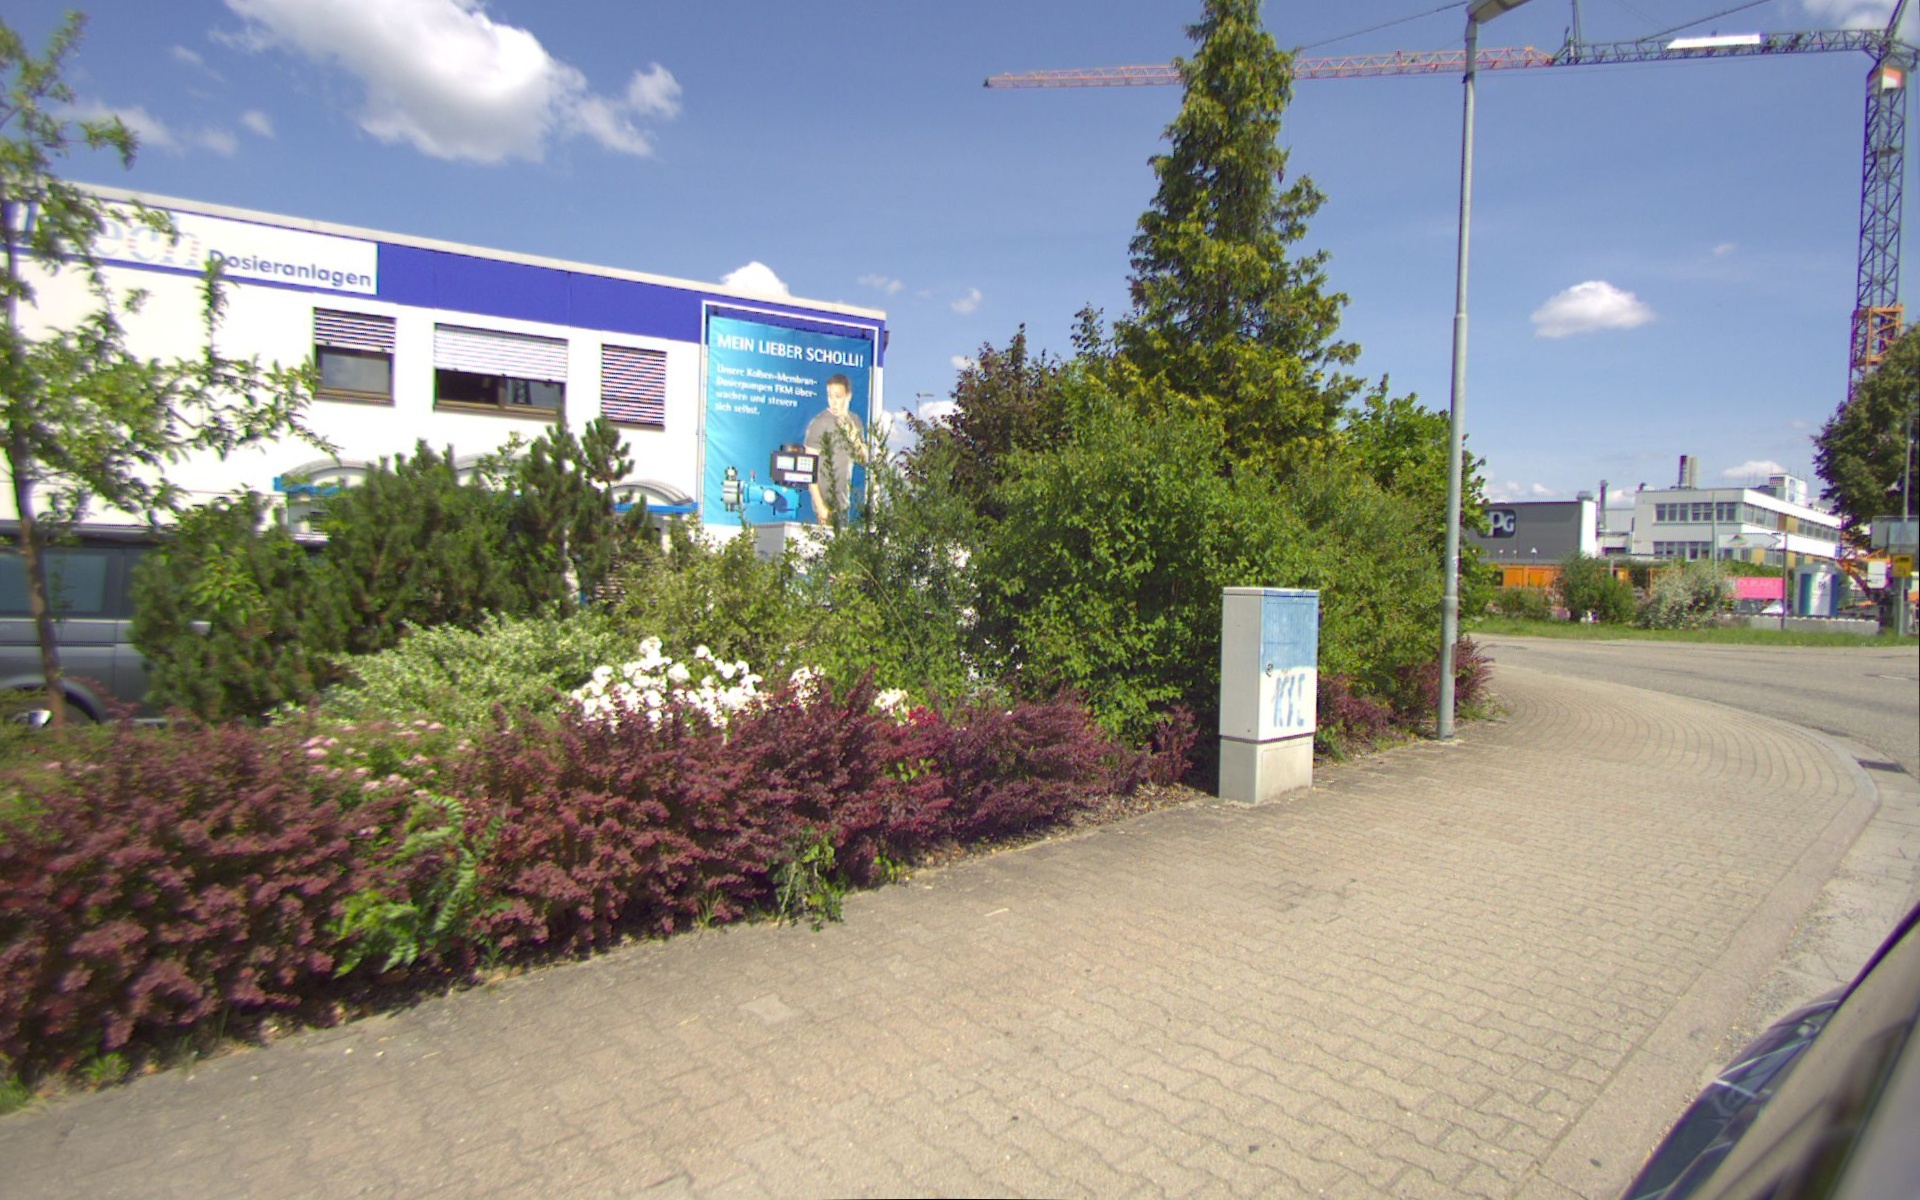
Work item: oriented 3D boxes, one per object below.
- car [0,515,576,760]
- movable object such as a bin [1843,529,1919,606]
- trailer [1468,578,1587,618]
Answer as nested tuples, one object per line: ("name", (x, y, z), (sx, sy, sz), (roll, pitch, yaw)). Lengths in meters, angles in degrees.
("car", (-6.016, 0.183, 9.049), (4.693, 1.819, 1.908), (-1, 4, -25))
("movable object such as a bin", (44.061, -1.511, 46.250), (5.090, 3.329, 2.372), (2, 7, 32))
("trailer", (30.194, -0.166, 53.925), (5.366, 1.800, 1.800), (3, 4, 35))
